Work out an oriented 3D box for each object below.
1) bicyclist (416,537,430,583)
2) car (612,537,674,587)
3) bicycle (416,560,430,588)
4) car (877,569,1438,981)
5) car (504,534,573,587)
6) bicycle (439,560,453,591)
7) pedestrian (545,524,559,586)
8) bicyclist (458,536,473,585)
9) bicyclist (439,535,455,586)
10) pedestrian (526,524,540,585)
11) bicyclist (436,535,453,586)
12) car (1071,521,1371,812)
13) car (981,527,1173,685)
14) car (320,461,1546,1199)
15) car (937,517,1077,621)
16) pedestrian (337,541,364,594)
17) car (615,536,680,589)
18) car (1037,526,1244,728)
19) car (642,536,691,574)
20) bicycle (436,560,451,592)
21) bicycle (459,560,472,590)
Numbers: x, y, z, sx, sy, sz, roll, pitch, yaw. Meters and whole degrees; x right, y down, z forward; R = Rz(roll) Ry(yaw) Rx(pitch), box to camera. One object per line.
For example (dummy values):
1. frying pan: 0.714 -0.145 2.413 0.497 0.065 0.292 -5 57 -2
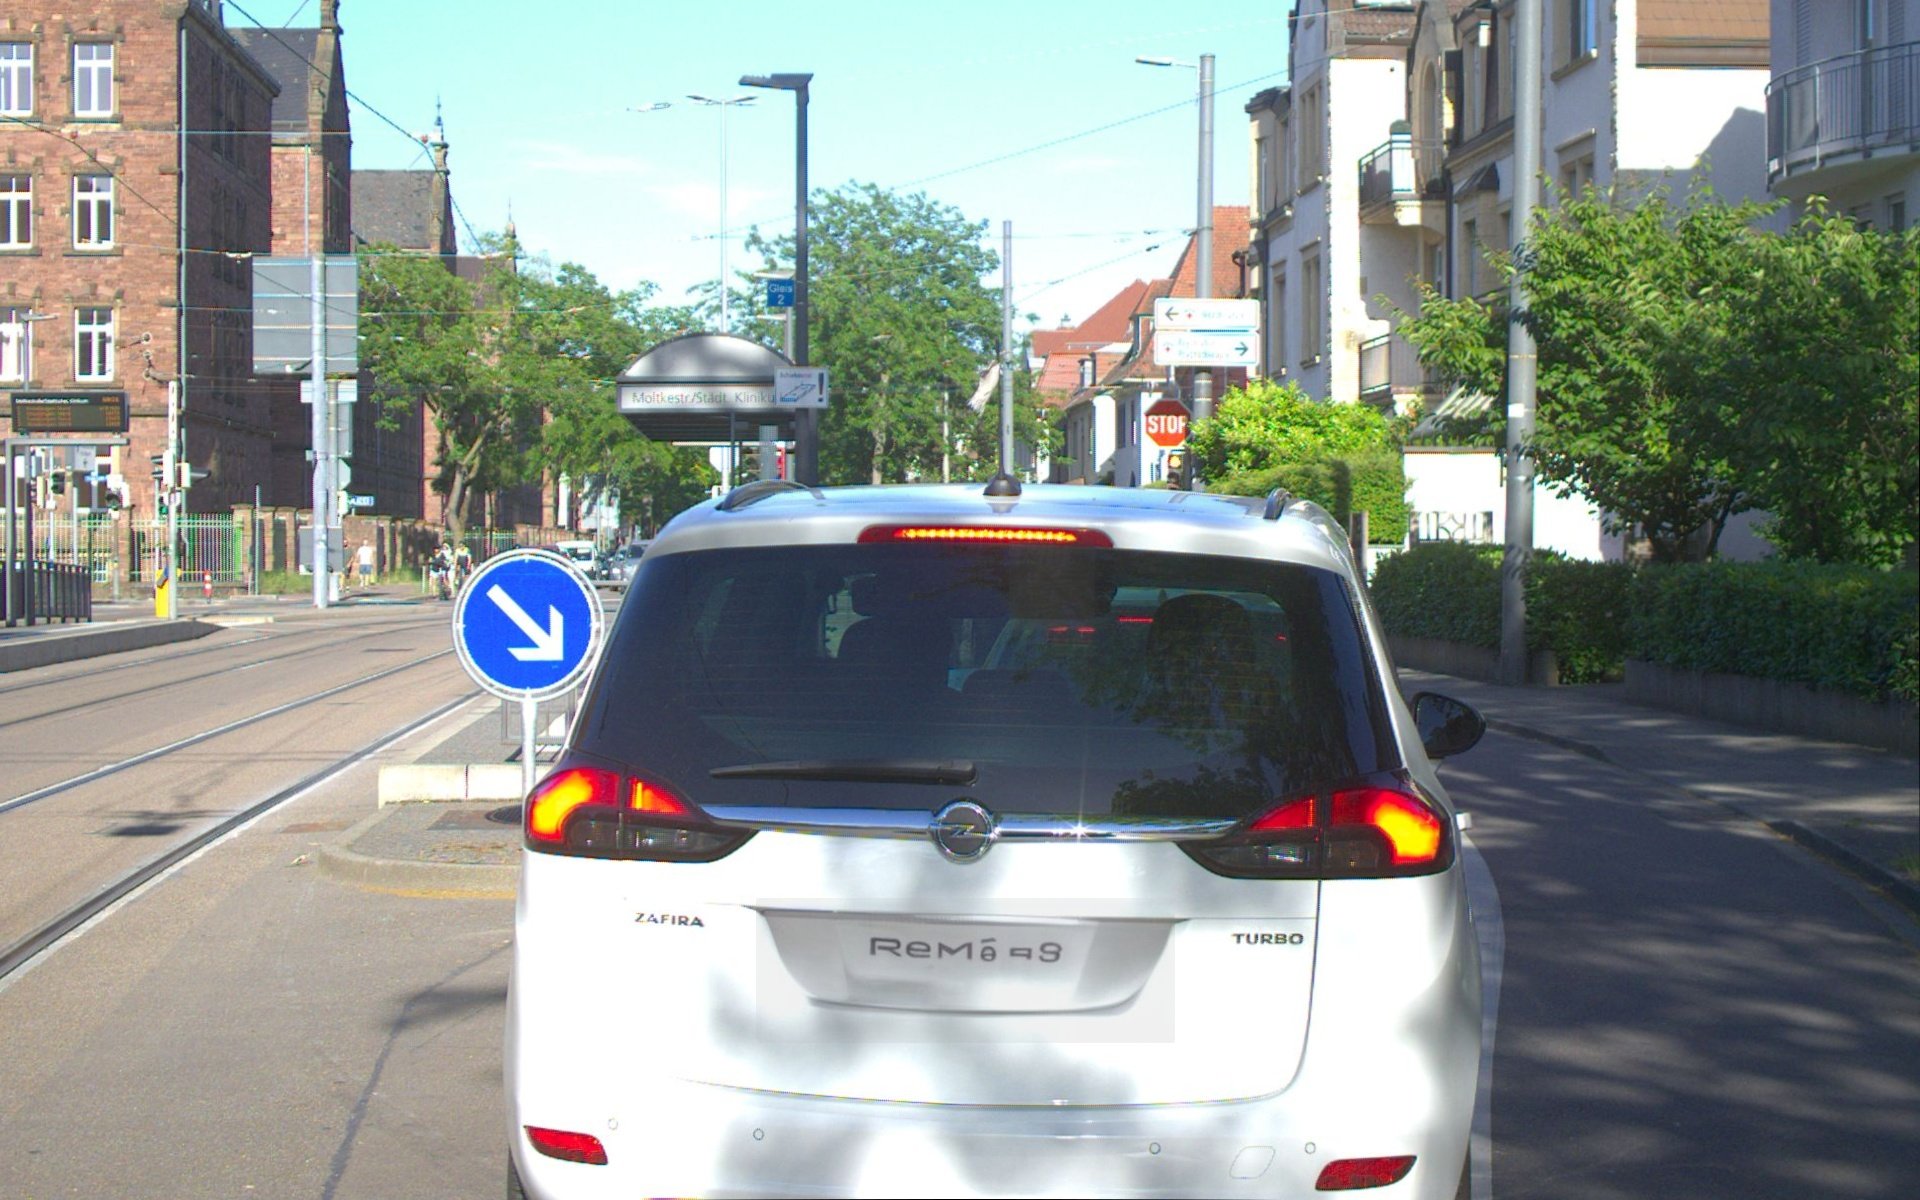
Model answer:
1. bicyclist: -17.981 -1.342 115.097 0.444 1.548 0.496 0 1 -4
2. car: -10.533 -1.276 114.418 1.993 1.623 4.001 0 1 -5
3. bicycle: -17.986 -0.876 115.141 0.344 0.946 0.997 1 0 -4
4. car: 0.748 0.591 13.984 1.953 1.392 4.000 0 1 2
5. car: -13.116 -1.230 107.088 1.993 1.623 4.001 0 1 -5
6. bicycle: -15.928 -0.762 106.616 0.344 0.946 0.997 1 0 -4
7. pedestrian: -13.317 -1.477 112.246 0.444 2.007 0.496 0 1 -4
8. bicyclist: -15.688 -1.249 109.151 0.444 1.548 0.496 0 1 -4
9. bicyclist: -15.892 -1.226 106.566 0.444 1.548 0.496 0 1 -4
10. pedestrian: -13.907 -1.482 111.979 0.444 2.007 0.496 0 1 -4
11. bicyclist: -15.474 -1.188 103.284 0.444 1.548 0.743 0 1 -4
12. car: 1.495 0.332 20.829 1.637 1.595 3.854 0 1 2
13. car: 1.178 0.026 36.181 1.830 1.574 4.010 0 1 -1
14. car: 0.139 0.585 7.604 1.994 1.639 3.992 1 1 6
15. car: 0.668 -0.488 51.761 1.993 1.497 4.000 0 1 -1
16. pedestrian: -19.707 -1.053 111.156 0.734 1.708 0.706 1 0 -3
17. car: -9.736 -1.193 107.312 1.993 1.623 4.001 0 1 -5
18. car: 1.496 0.180 29.257 1.637 1.595 3.854 0 1 2
19. car: -12.913 -1.984 151.446 1.993 1.623 4.001 0 1 -2
20. bicycle: -15.482 -0.720 103.084 0.344 0.946 1.160 1 0 -4
21. bicycle: -15.697 -0.784 109.166 0.344 0.946 0.997 1 0 -4
